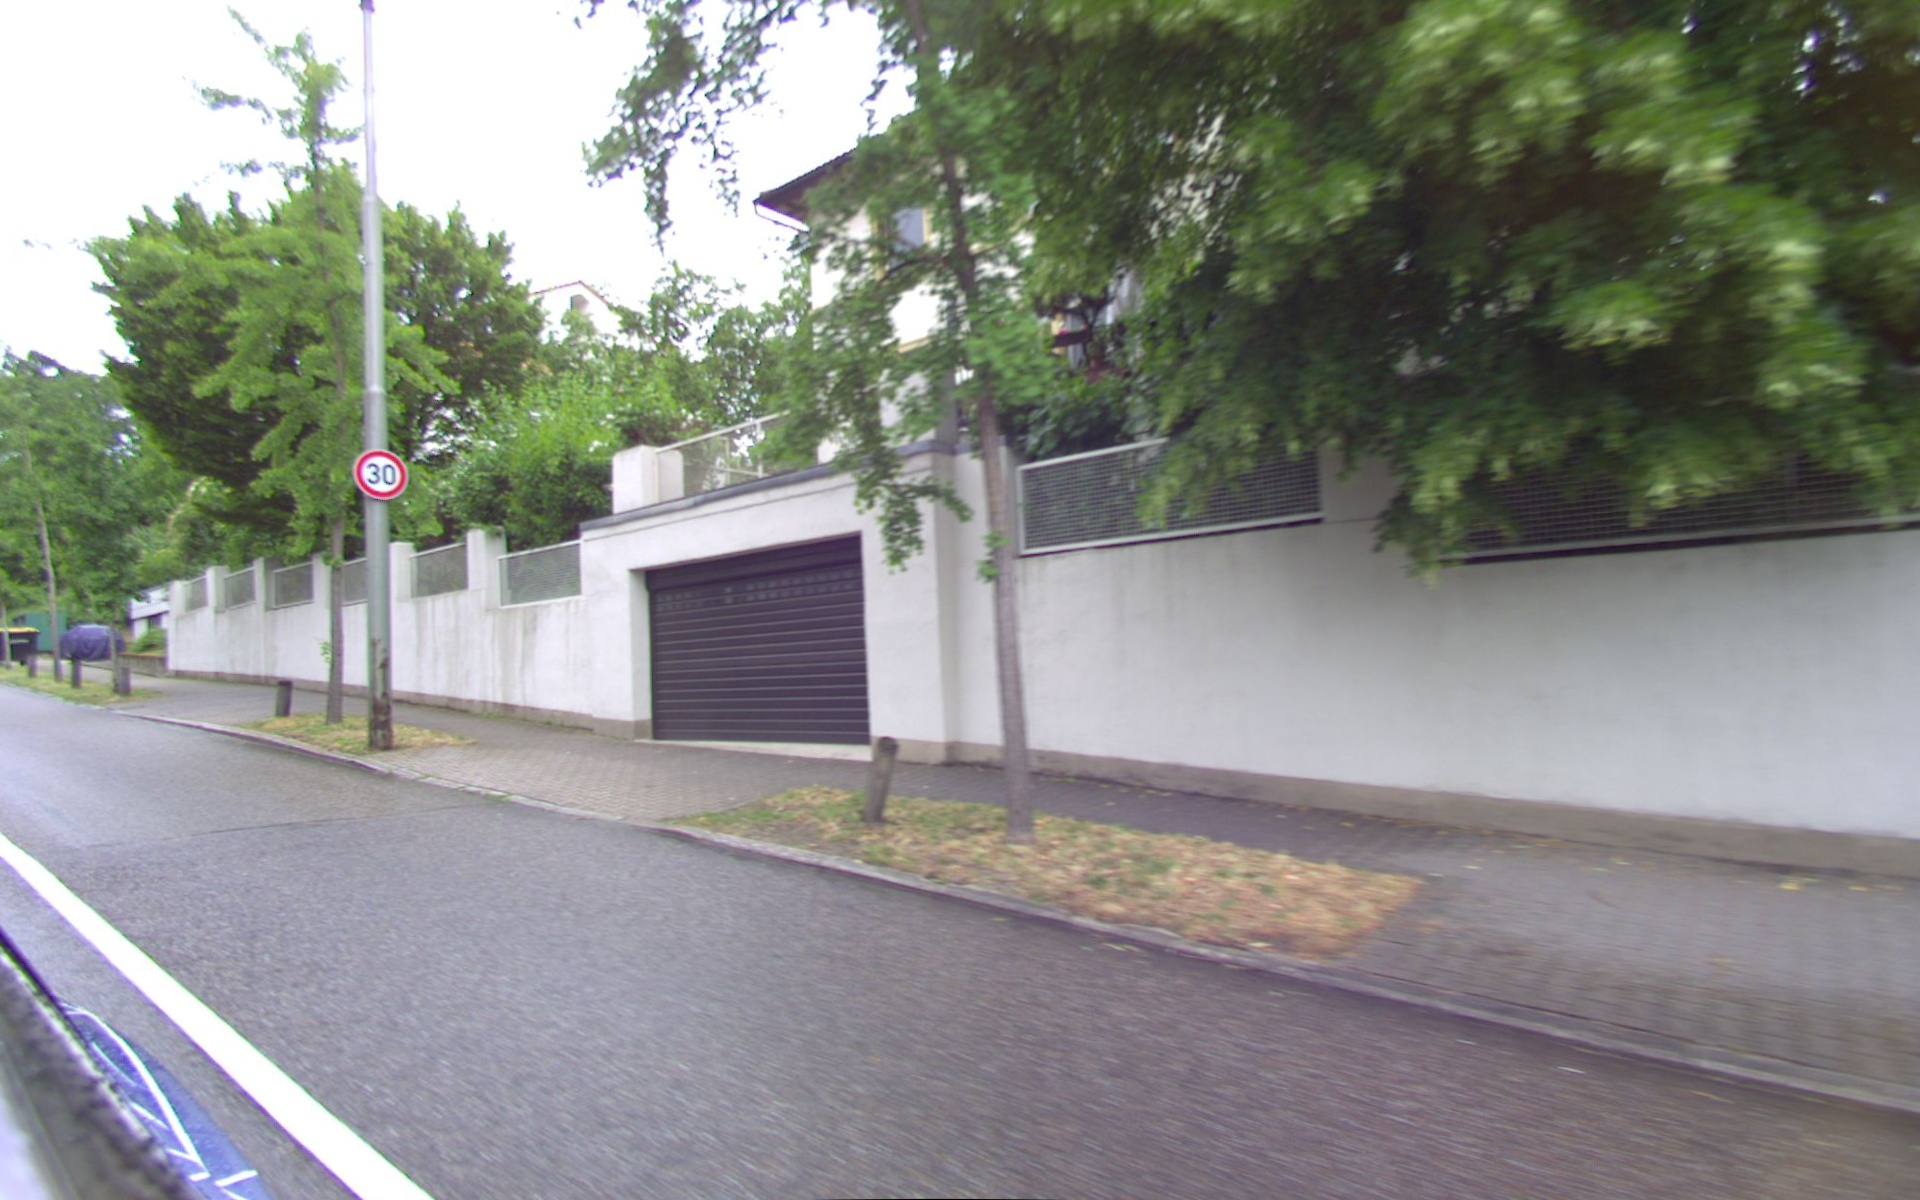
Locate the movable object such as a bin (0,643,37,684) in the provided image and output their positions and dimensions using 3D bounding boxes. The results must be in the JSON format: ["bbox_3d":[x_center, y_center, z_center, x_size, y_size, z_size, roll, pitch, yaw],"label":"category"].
[{"bbox_3d":[-32.841,2.168,34.898,1.119,1.361,1.214,-1,-2,31],"label":"movable object such as a bin"}]

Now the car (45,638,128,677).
[{"bbox_3d":[-37.074,2.445,42.939,3.860,1.503,1.833,-2,-7,38],"label":"car"}]
